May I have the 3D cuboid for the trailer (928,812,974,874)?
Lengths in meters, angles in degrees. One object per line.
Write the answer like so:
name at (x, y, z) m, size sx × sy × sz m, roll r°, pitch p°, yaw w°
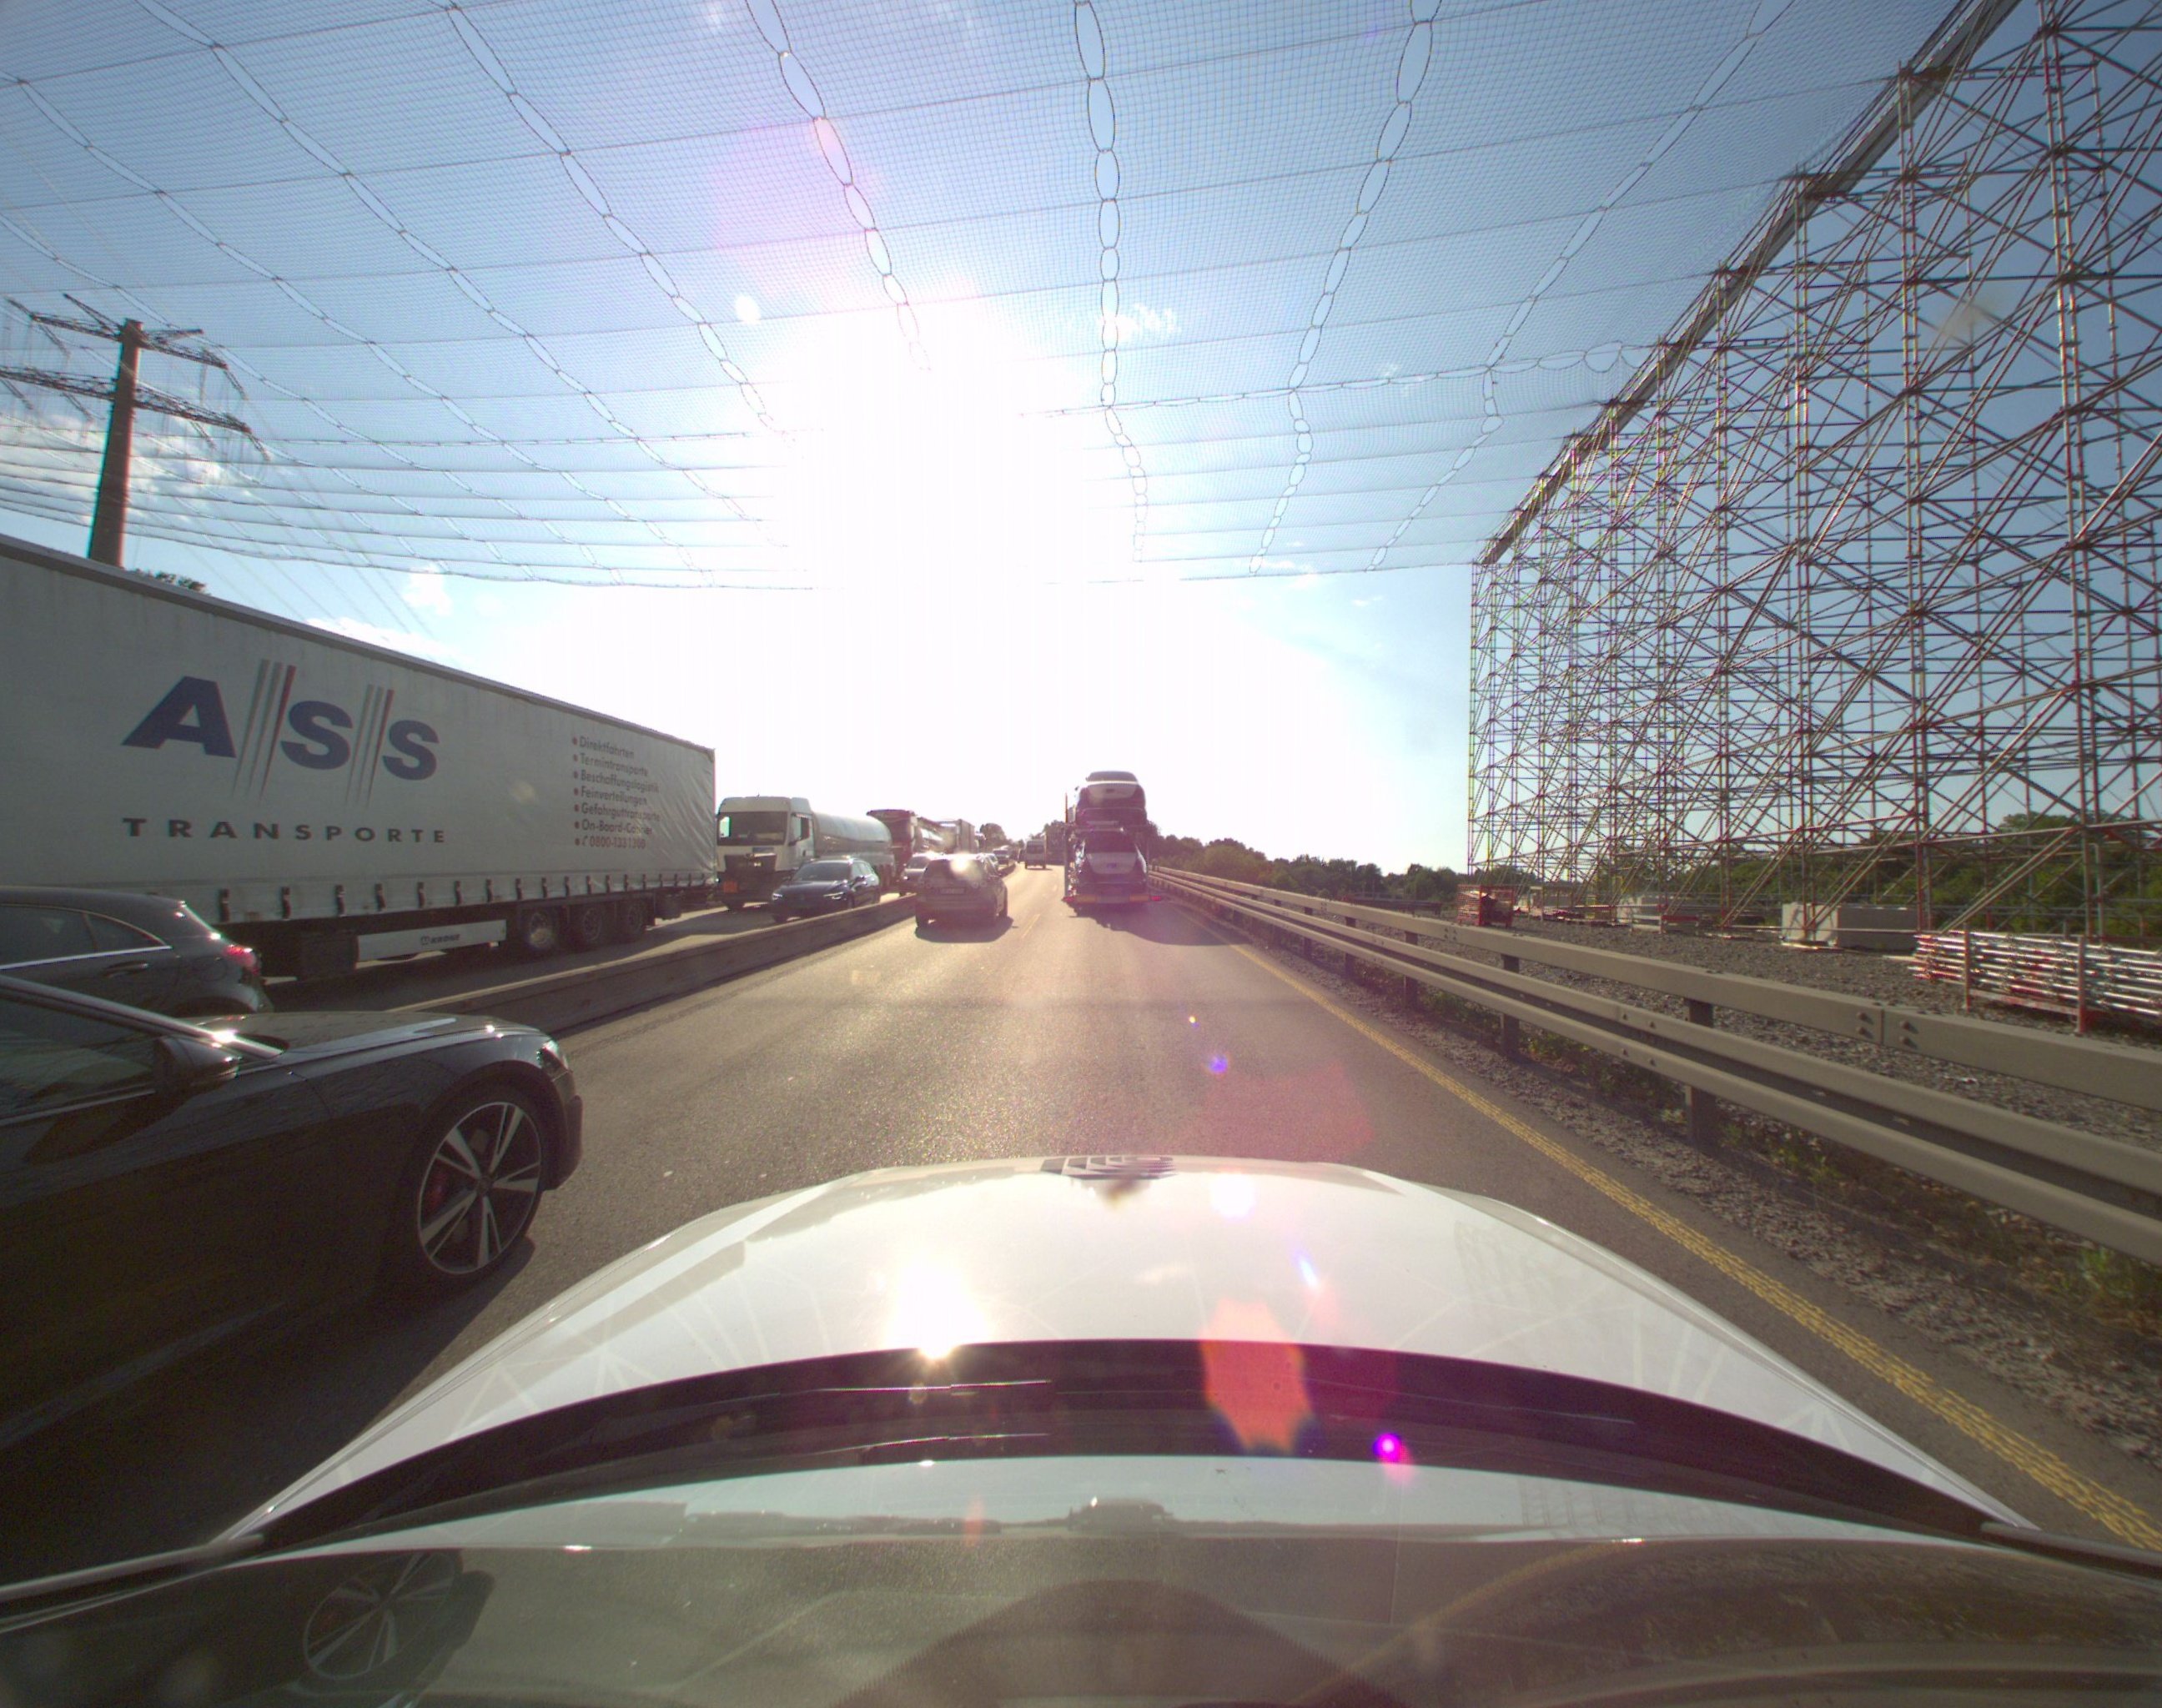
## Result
trailer at (-9.894, -0.737, 62.740) m, size 2.471 × 4.328 × 10.496 m, roll -1°, pitch 0°, yaw -4°

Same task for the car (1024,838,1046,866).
car at (-4.287, -0.163, 76.201) m, size 1.916 × 2.492 × 5.404 m, roll -1°, pitch 0°, yaw -2°

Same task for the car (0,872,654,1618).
car at (-3.091, 0.805, 1.451) m, size 1.927 × 1.398 × 4.962 m, roll 0°, pitch 0°, yaw 1°

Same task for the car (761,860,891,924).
car at (-6.212, 0.870, 20.356) m, size 1.787 × 1.398 × 4.245 m, roll -1°, pitch 0°, yaw 2°

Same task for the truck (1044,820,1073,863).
truck at (-2.945, -1.555, 104.227) m, size 3.280 × 5.236 × 9.920 m, roll -1°, pitch 0°, yaw -4°

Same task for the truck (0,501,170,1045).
truck at (-9.280, -0.601, 4.355) m, size 2.465 × 4.046 × 5.617 m, roll -1°, pitch 0°, yaw 0°

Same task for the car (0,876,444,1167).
car at (-6.149, 0.871, 4.859) m, size 1.602 × 1.376 × 3.900 m, roll -1°, pitch 0°, yaw 0°

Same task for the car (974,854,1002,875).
car at (-6.724, 0.761, 59.273) m, size 1.623 × 1.426 × 4.653 m, roll -1°, pitch 0°, yaw -2°

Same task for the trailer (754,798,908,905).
trailer at (-9.194, -0.046, 31.846) m, size 2.299 × 3.362 × 12.050 m, roll -1°, pitch 0°, yaw 0°

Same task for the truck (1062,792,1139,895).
truck at (0.653, -0.388, 35.191) m, size 2.830 × 3.792 × 9.982 m, roll -1°, pitch 0°, yaw -1°

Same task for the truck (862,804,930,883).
truck at (-9.512, -0.508, 42.371) m, size 2.426 × 3.784 × 5.612 m, roll -1°, pitch 0°, yaw -3°

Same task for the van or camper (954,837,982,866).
van or camper at (-11.529, -0.239, 83.732) m, size 2.404 × 2.891 × 7.605 m, roll -1°, pitch 0°, yaw -4°

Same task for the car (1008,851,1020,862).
car at (-11.305, 0.437, 138.305) m, size 1.822 × 1.772 × 3.996 m, roll -1°, pitch 0°, yaw -3°

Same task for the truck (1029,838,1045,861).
truck at (-7.248, -0.652, 134.960) m, size 2.525 × 3.648 × 8.895 m, roll -1°, pitch 0°, yaw -3°

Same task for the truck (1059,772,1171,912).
truck at (0.778, -0.286, 25.693) m, size 2.791 × 3.497 × 10.600 m, roll -1°, pitch 0°, yaw -1°

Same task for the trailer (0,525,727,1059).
trailer at (-9.222, -0.430, 11.345) m, size 2.420 × 3.963 × 14.095 m, roll -1°, pitch 0°, yaw 0°

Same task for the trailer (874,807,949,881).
trailer at (-9.735, -0.482, 48.082) m, size 2.301 × 3.790 × 12.041 m, roll -1°, pitch 0°, yaw -2°

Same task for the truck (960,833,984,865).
truck at (-13.094, -0.586, 98.503) m, size 2.597 × 3.754 × 6.504 m, roll -1°, pitch 0°, yaw -5°

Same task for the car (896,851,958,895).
car at (-5.828, 0.698, 31.287) m, size 1.746 × 1.587 × 3.939 m, roll -1°, pitch 0°, yaw -2°

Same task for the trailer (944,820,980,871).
trailer at (-10.478, -0.697, 72.220) m, size 2.438 × 4.189 × 8.532 m, roll -1°, pitch 0°, yaw -4°

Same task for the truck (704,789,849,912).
truck at (-9.216, -0.087, 25.327) m, size 2.406 × 3.370 × 5.616 m, roll -1°, pitch 0°, yaw 0°

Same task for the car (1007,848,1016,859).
car at (-13.251, -0.009, 154.405) m, size 1.628 × 2.014 × 3.991 m, roll -1°, pitch 0°, yaw -6°

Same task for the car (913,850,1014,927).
car at (-2.628, 0.722, 19.038) m, size 1.685 × 1.596 × 4.001 m, roll -1°, pitch 0°, yaw 1°

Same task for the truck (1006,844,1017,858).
truck at (-15.980, -0.641, 187.256) m, size 2.586 × 3.170 × 6.666 m, roll -1°, pitch 0°, yaw -5°

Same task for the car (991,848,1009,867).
car at (-8.806, 0.373, 88.947) m, size 1.813 × 1.925 × 4.829 m, roll -1°, pitch 0°, yaw -4°
